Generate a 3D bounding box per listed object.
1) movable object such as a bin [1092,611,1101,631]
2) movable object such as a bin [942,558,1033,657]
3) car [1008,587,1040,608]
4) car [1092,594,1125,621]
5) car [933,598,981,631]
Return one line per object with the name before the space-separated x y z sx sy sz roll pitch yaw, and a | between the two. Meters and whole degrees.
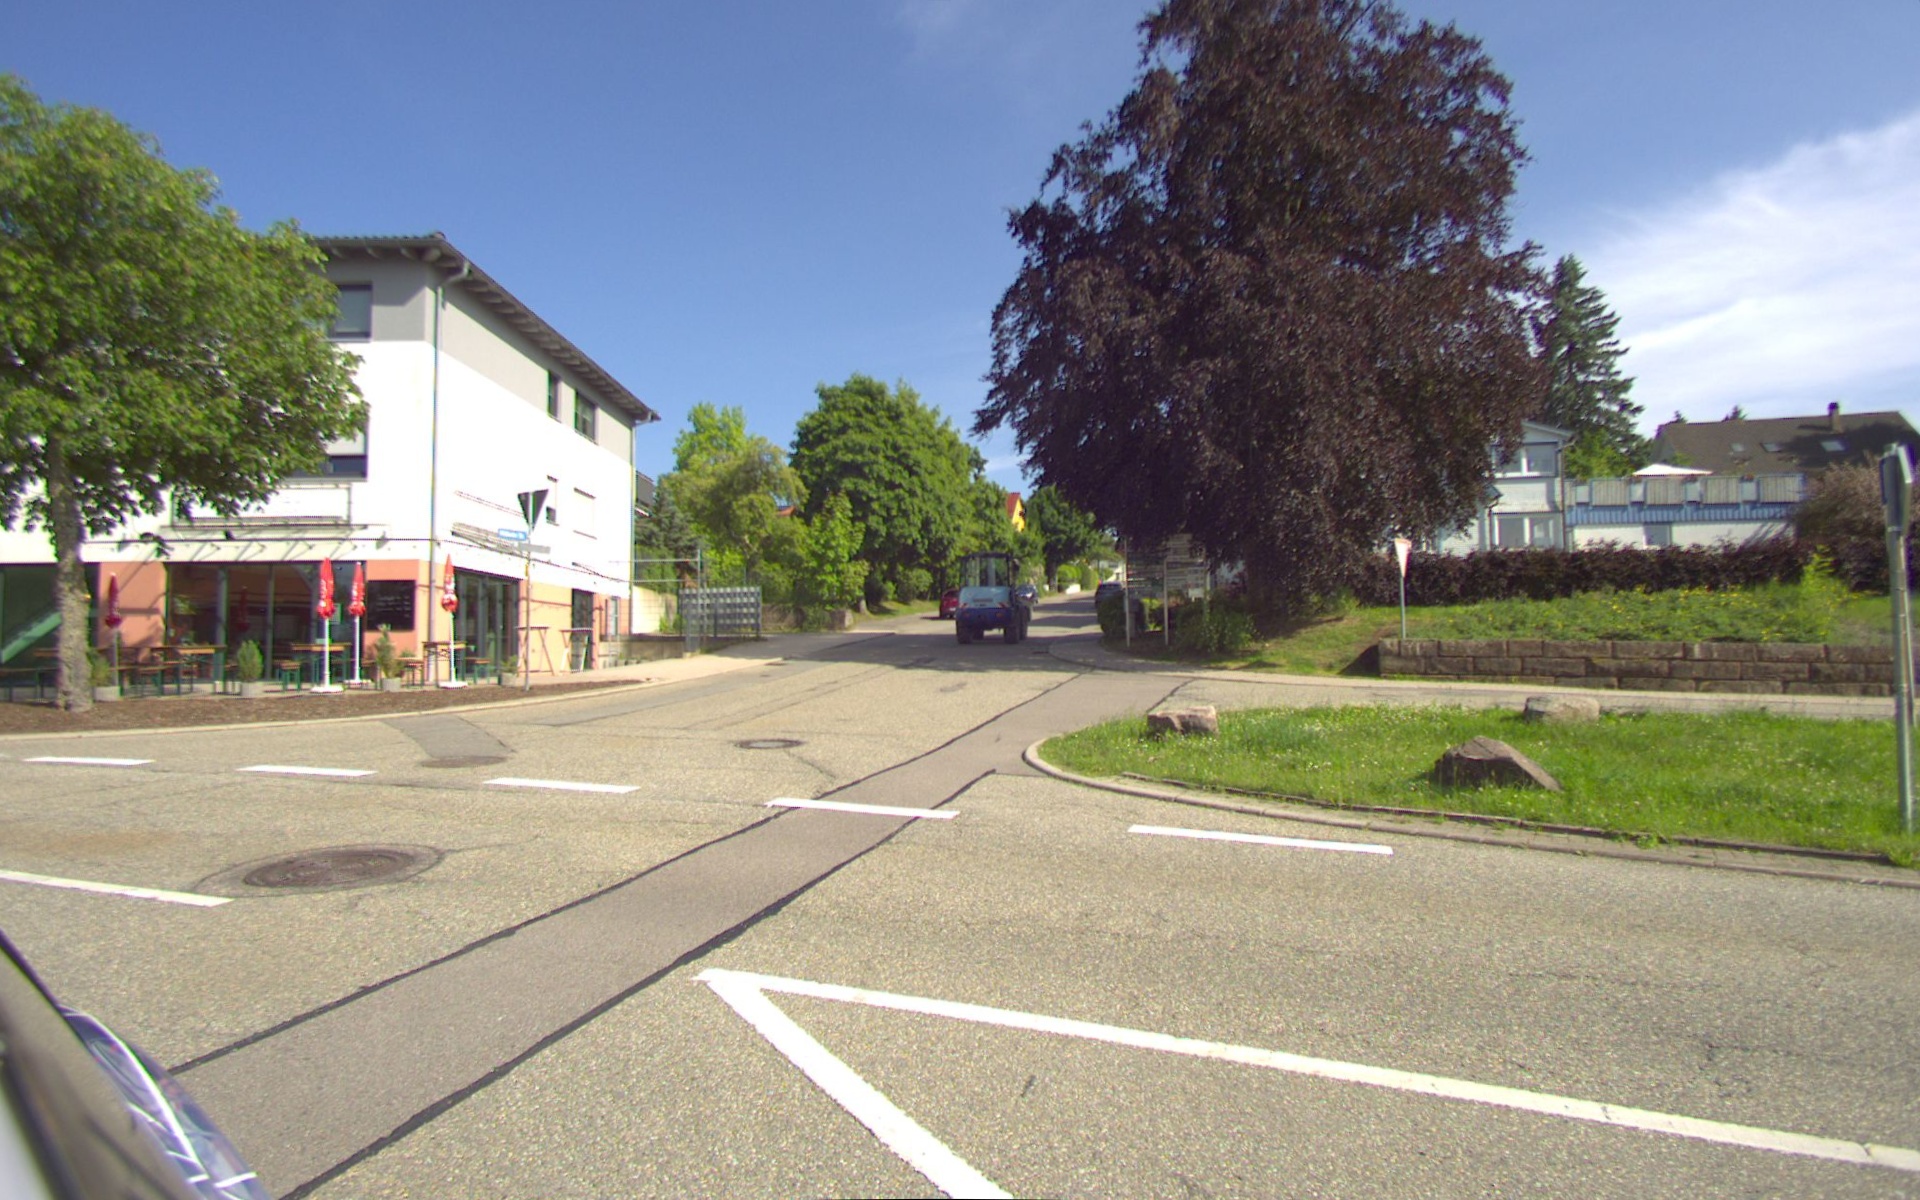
movable object such as a bin | 6.171 0.955 45.752 0.347 0.870 0.394 0 0 13
movable object such as a bin | 0.943 0.197 31.331 1.979 2.790 5.087 0 0 11
car | 4.691 -0.224 73.773 1.758 1.481 3.796 -1 1 12
car | 9.502 0.440 64.578 1.790 1.613 3.796 -1 1 12
car | -0.121 0.709 50.061 1.608 1.509 3.796 -1 1 12
